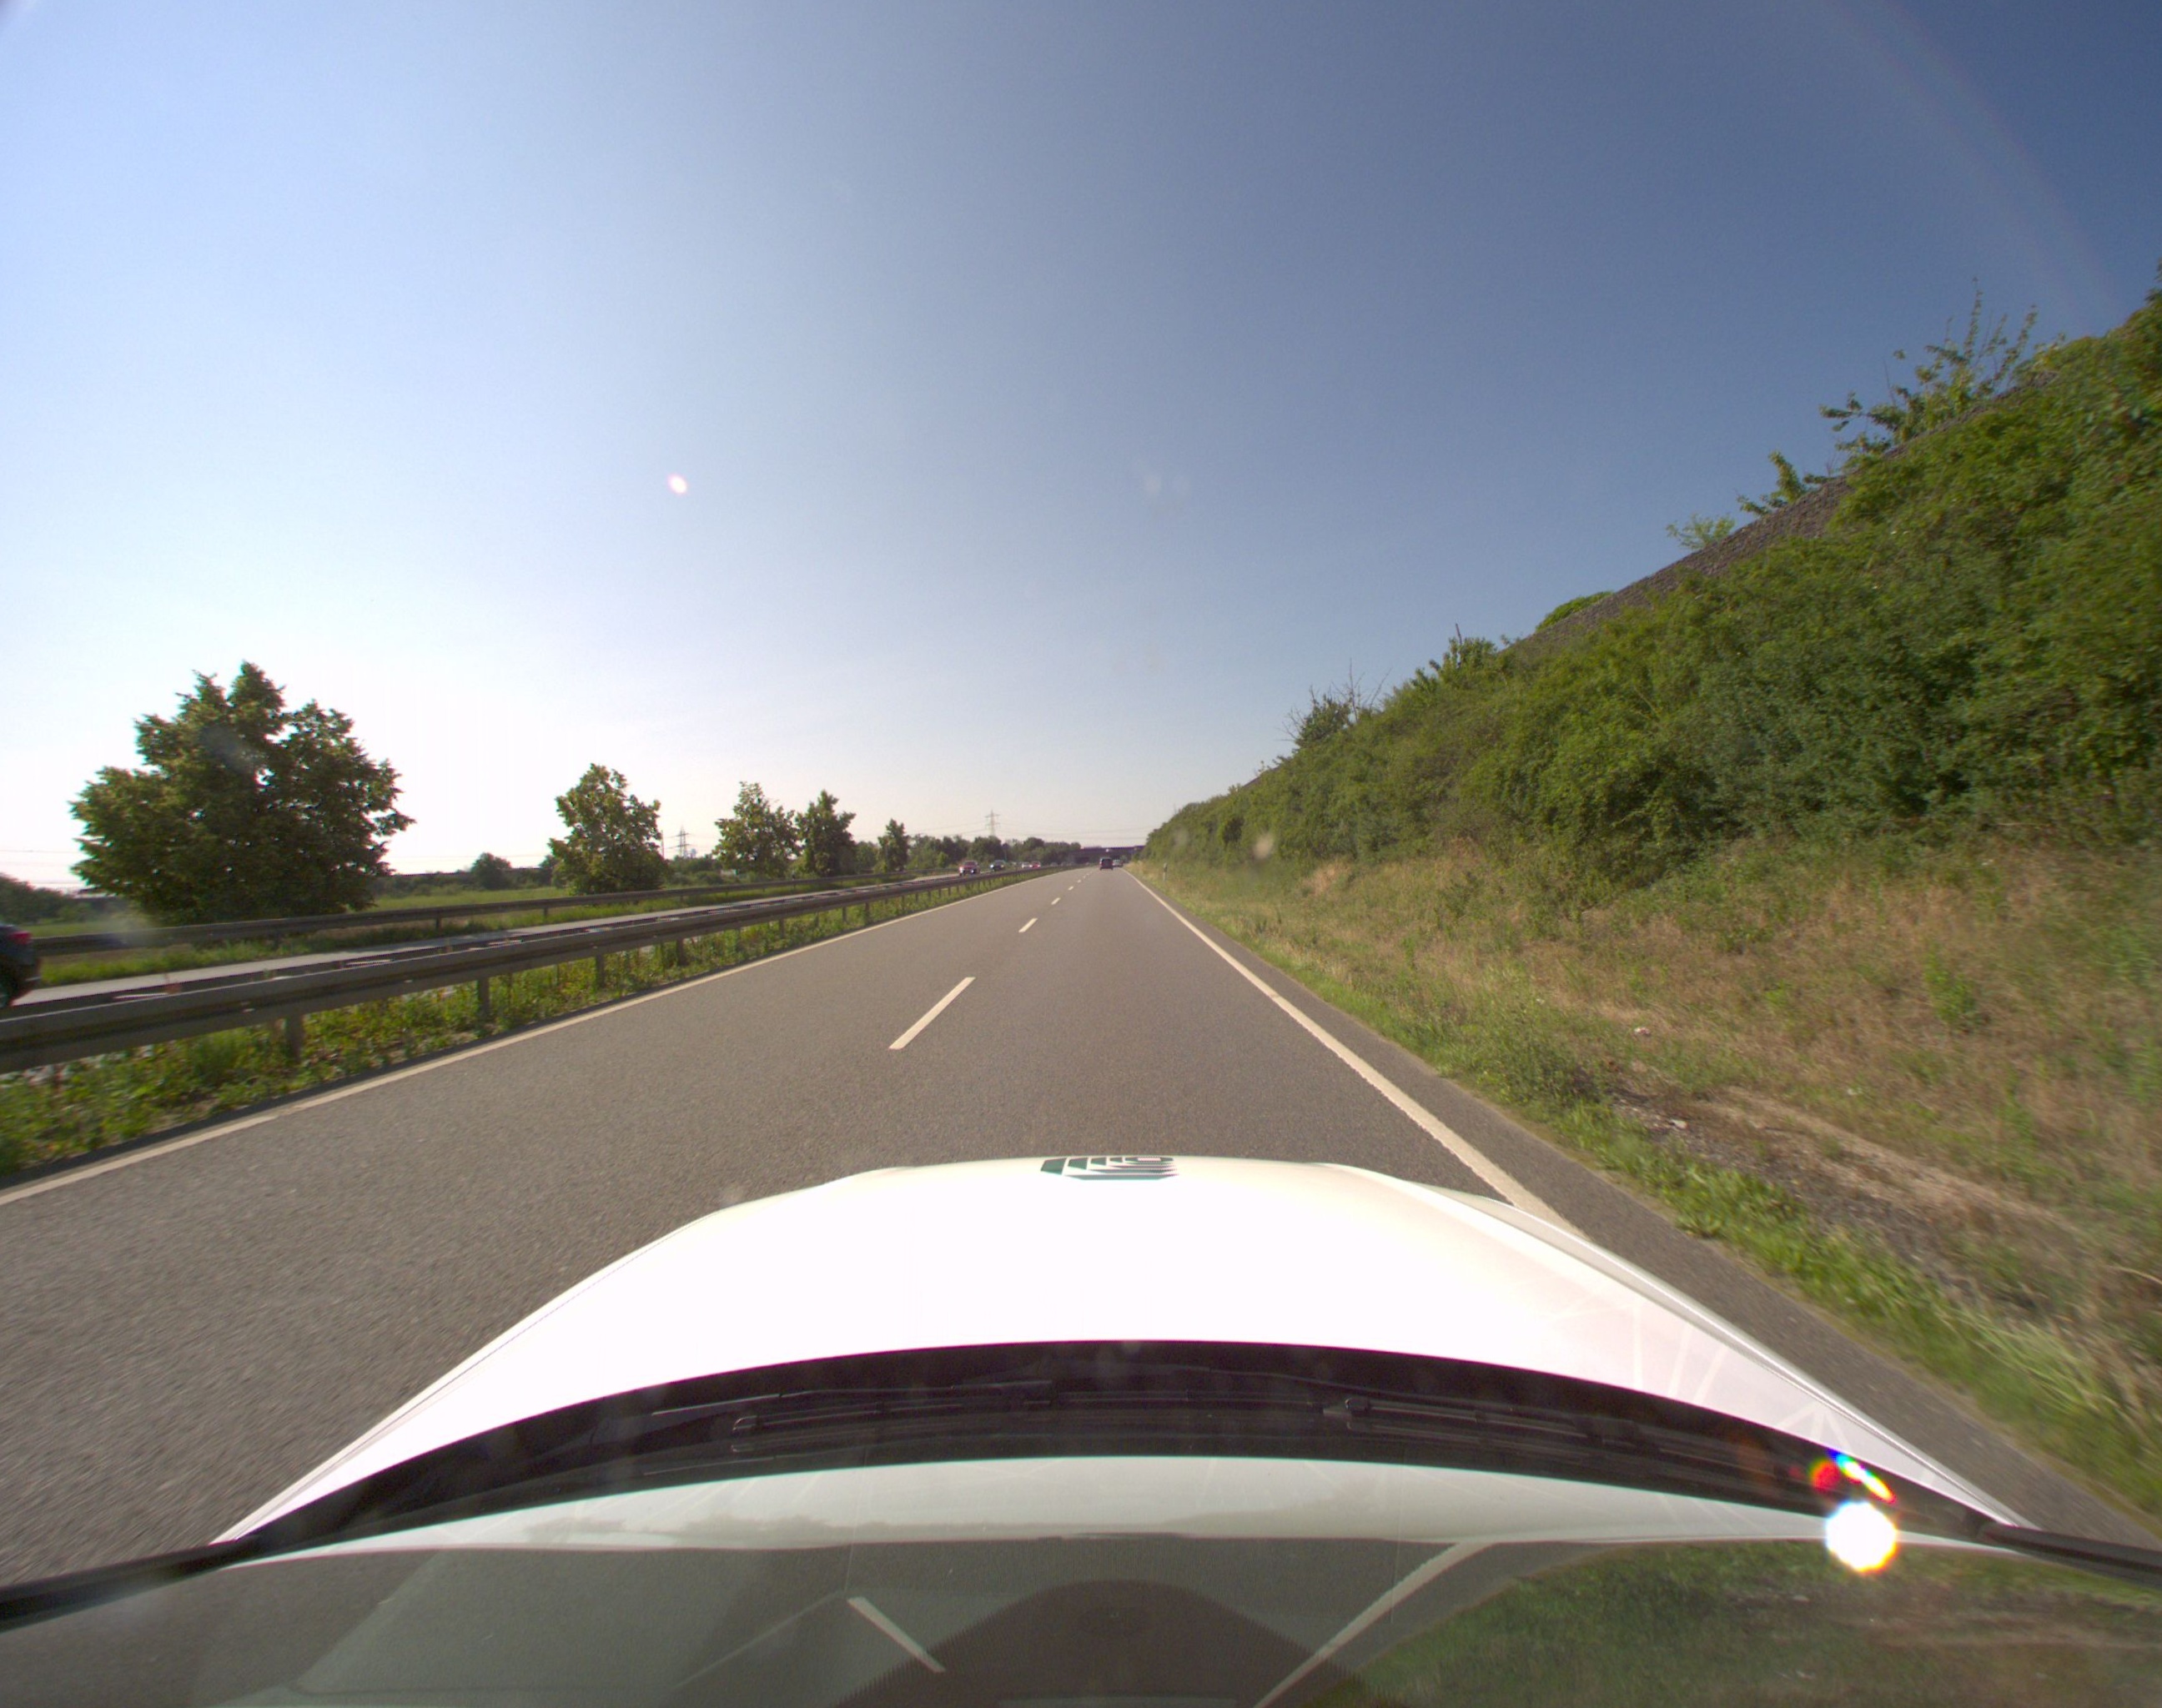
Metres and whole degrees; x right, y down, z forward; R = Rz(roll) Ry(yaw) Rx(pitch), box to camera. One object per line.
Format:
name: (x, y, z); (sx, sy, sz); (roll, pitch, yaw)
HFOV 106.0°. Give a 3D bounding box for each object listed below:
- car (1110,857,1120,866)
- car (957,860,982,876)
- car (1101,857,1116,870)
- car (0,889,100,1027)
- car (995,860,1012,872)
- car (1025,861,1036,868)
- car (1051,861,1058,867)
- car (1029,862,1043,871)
car: (6.427, 1.498, 154.749); (1.788, 1.665, 4.005); (0, 0, 4)
car: (-11.928, 1.498, 87.063); (1.836, 1.593, 4.775); (-1, 0, 2)
car: (3.687, 1.270, 109.400); (1.841, 1.644, 4.005); (-2, -1, 5)
car: (-13.331, 1.235, 8.010); (1.805, 1.542, 4.457); (-2, 0, 3)
car: (-10.436, 1.577, 109.420); (1.719, 1.595, 4.222); (-1, 0, 2)
car: (-10.295, 2.082, 166.894); (1.814, 1.396, 4.417); (0, 0, 2)
car: (-7.295, 2.720, 224.912); (1.707, 1.450, 4.323); (-2, 0, 0)
car: (-7.340, 2.042, 133.738); (1.869, 1.493, 5.097); (-1, -1, 2)
